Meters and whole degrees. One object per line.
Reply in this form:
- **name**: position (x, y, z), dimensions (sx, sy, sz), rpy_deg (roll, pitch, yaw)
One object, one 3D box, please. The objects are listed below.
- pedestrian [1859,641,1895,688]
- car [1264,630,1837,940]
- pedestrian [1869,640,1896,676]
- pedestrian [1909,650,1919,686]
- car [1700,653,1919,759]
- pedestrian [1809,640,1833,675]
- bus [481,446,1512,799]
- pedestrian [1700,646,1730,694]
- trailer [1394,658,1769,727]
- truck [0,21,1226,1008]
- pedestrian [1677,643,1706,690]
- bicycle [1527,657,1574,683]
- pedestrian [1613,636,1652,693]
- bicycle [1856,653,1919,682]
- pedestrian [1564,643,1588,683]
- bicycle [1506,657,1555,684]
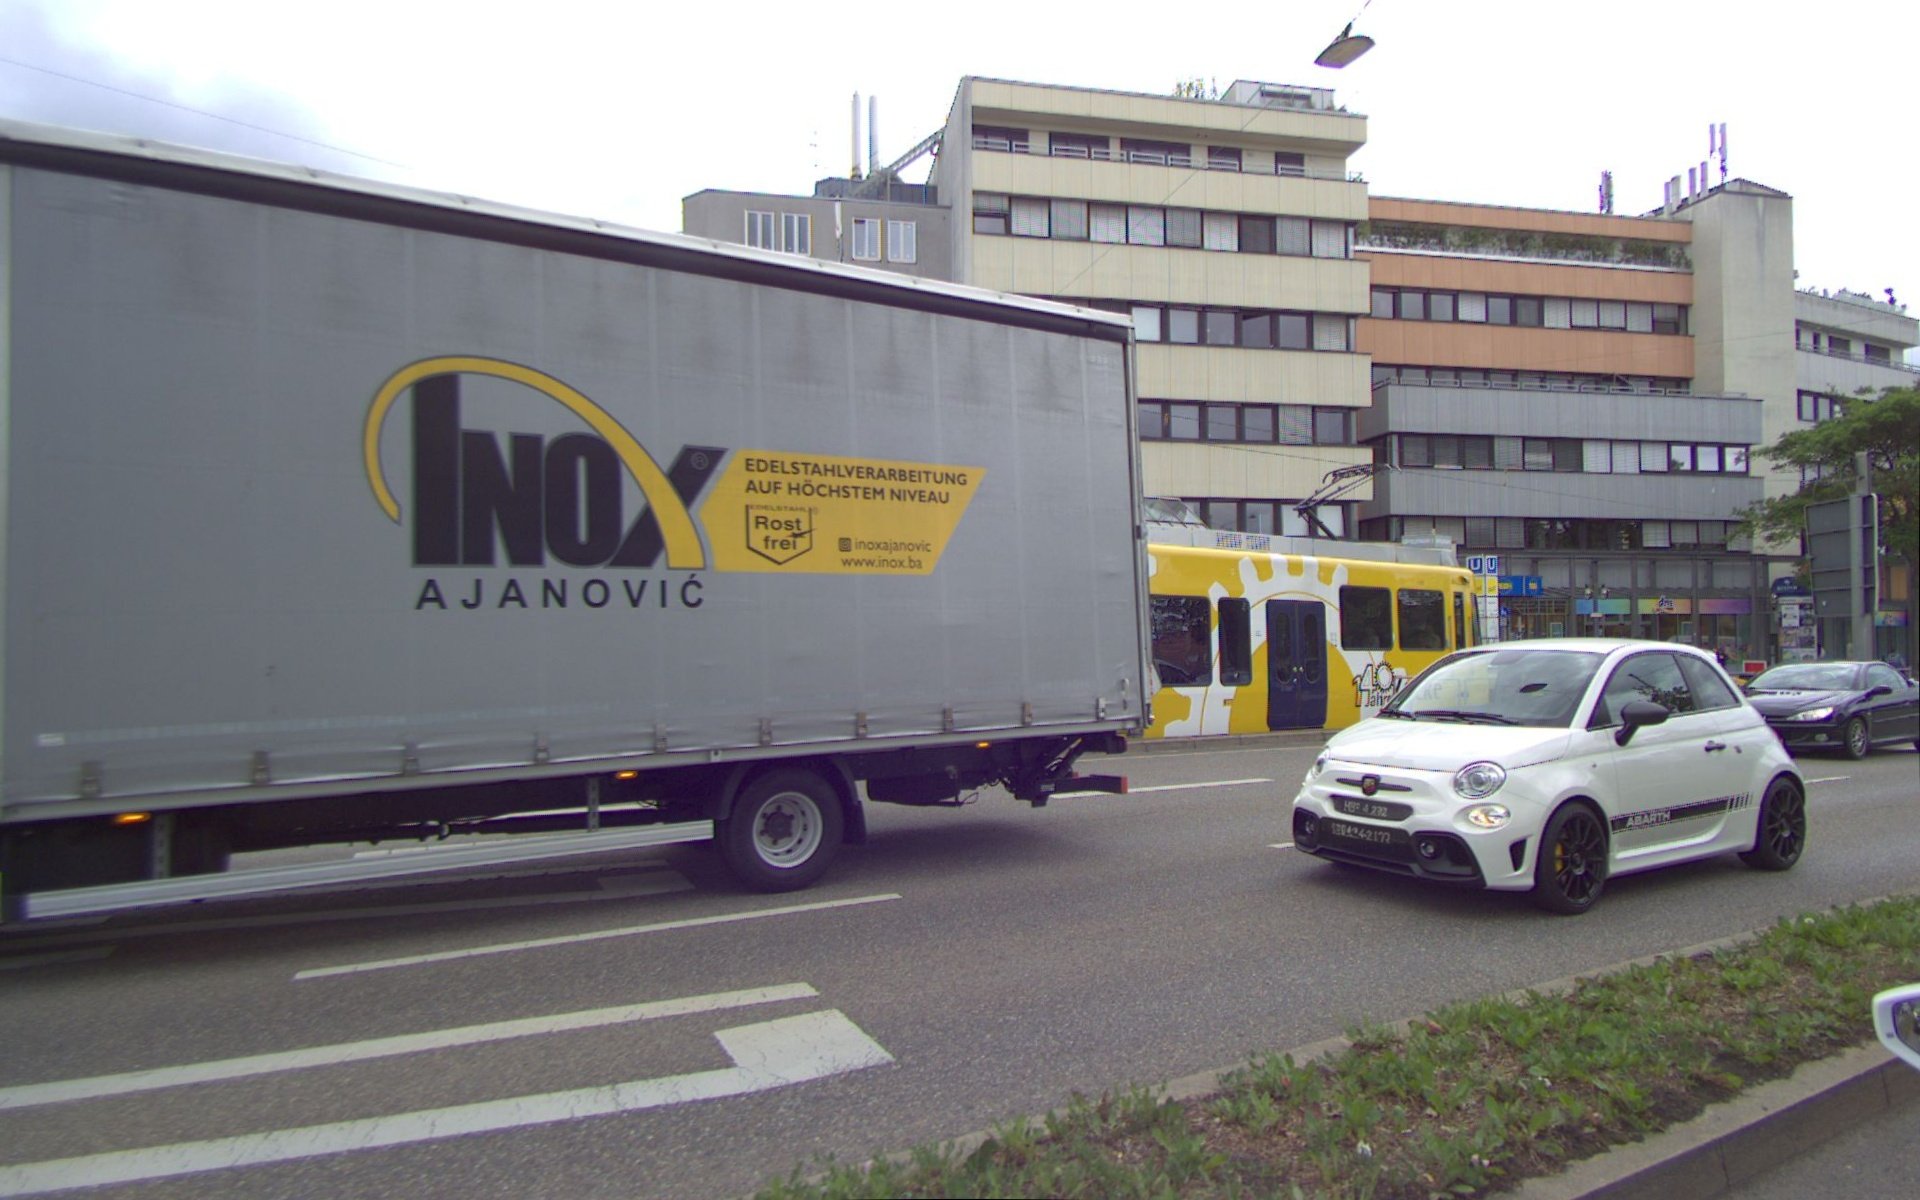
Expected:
- **pedestrian**: position (34.695, 2.425, 38.015), dimensions (0.697, 1.735, 0.773), rpy_deg (2, 0, -24)
- **car**: position (3.904, 0.980, 6.555), dimensions (3.672, 1.522, 1.581), rpy_deg (2, -2, -29)
- **pedestrian**: position (42.083, 2.628, 45.843), dimensions (0.697, 1.604, 0.664), rpy_deg (2, 0, -24)
- **pedestrian**: position (47.824, 3.385, 49.886), dimensions (0.779, 1.739, 0.767), rpy_deg (2, 0, -27)
- **car**: position (12.693, 1.469, 14.637), dimensions (3.899, 1.362, 1.500), rpy_deg (1, -4, -28)
- **pedestrian**: position (40.481, 2.710, 47.234), dimensions (0.610, 1.621, 0.635), rpy_deg (1, 0, 13)
- **bus**: position (2.296, 0.559, 17.704), dimensions (19.117, 3.910, 3.859), rpy_deg (2, -3, -31)
- **pedestrian**: position (25.415, 2.352, 33.816), dimensions (0.613, 1.594, 0.596), rpy_deg (1, -2, -28)
- **trailer**: position (15.979, 2.187, 25.283), dimensions (11.985, 1.350, 2.827), rpy_deg (2, -3, -31)
- **truck**: position (-2.791, -0.253, 6.325), dimensions (9.052, 4.009, 2.927), rpy_deg (1, -4, -29)
- **pedestrian**: position (25.155, 2.279, 34.542), dimensions (0.613, 1.594, 0.596), rpy_deg (1, -2, -28)
- **bicycle**: position (27.163, 3.221, 46.200), dimensions (1.985, 1.176, 0.672), rpy_deg (1, -2, -15)
- **pedestrian**: position (22.799, 2.189, 34.072), dimensions (0.862, 1.902, 0.742), rpy_deg (1, -3, -26)
- **bicycle**: position (38.778, 2.824, 41.890), dimensions (1.979, 1.176, 0.674), rpy_deg (-1, -2, 21)
- **pedestrian**: position (27.385, 2.792, 44.672), dimensions (0.660, 1.723, 0.647), rpy_deg (1, -3, -26)
- **bicycle**: position (25.825, 3.182, 45.504), dimensions (0.663, 1.176, 2.012), rpy_deg (1, -3, -17)
